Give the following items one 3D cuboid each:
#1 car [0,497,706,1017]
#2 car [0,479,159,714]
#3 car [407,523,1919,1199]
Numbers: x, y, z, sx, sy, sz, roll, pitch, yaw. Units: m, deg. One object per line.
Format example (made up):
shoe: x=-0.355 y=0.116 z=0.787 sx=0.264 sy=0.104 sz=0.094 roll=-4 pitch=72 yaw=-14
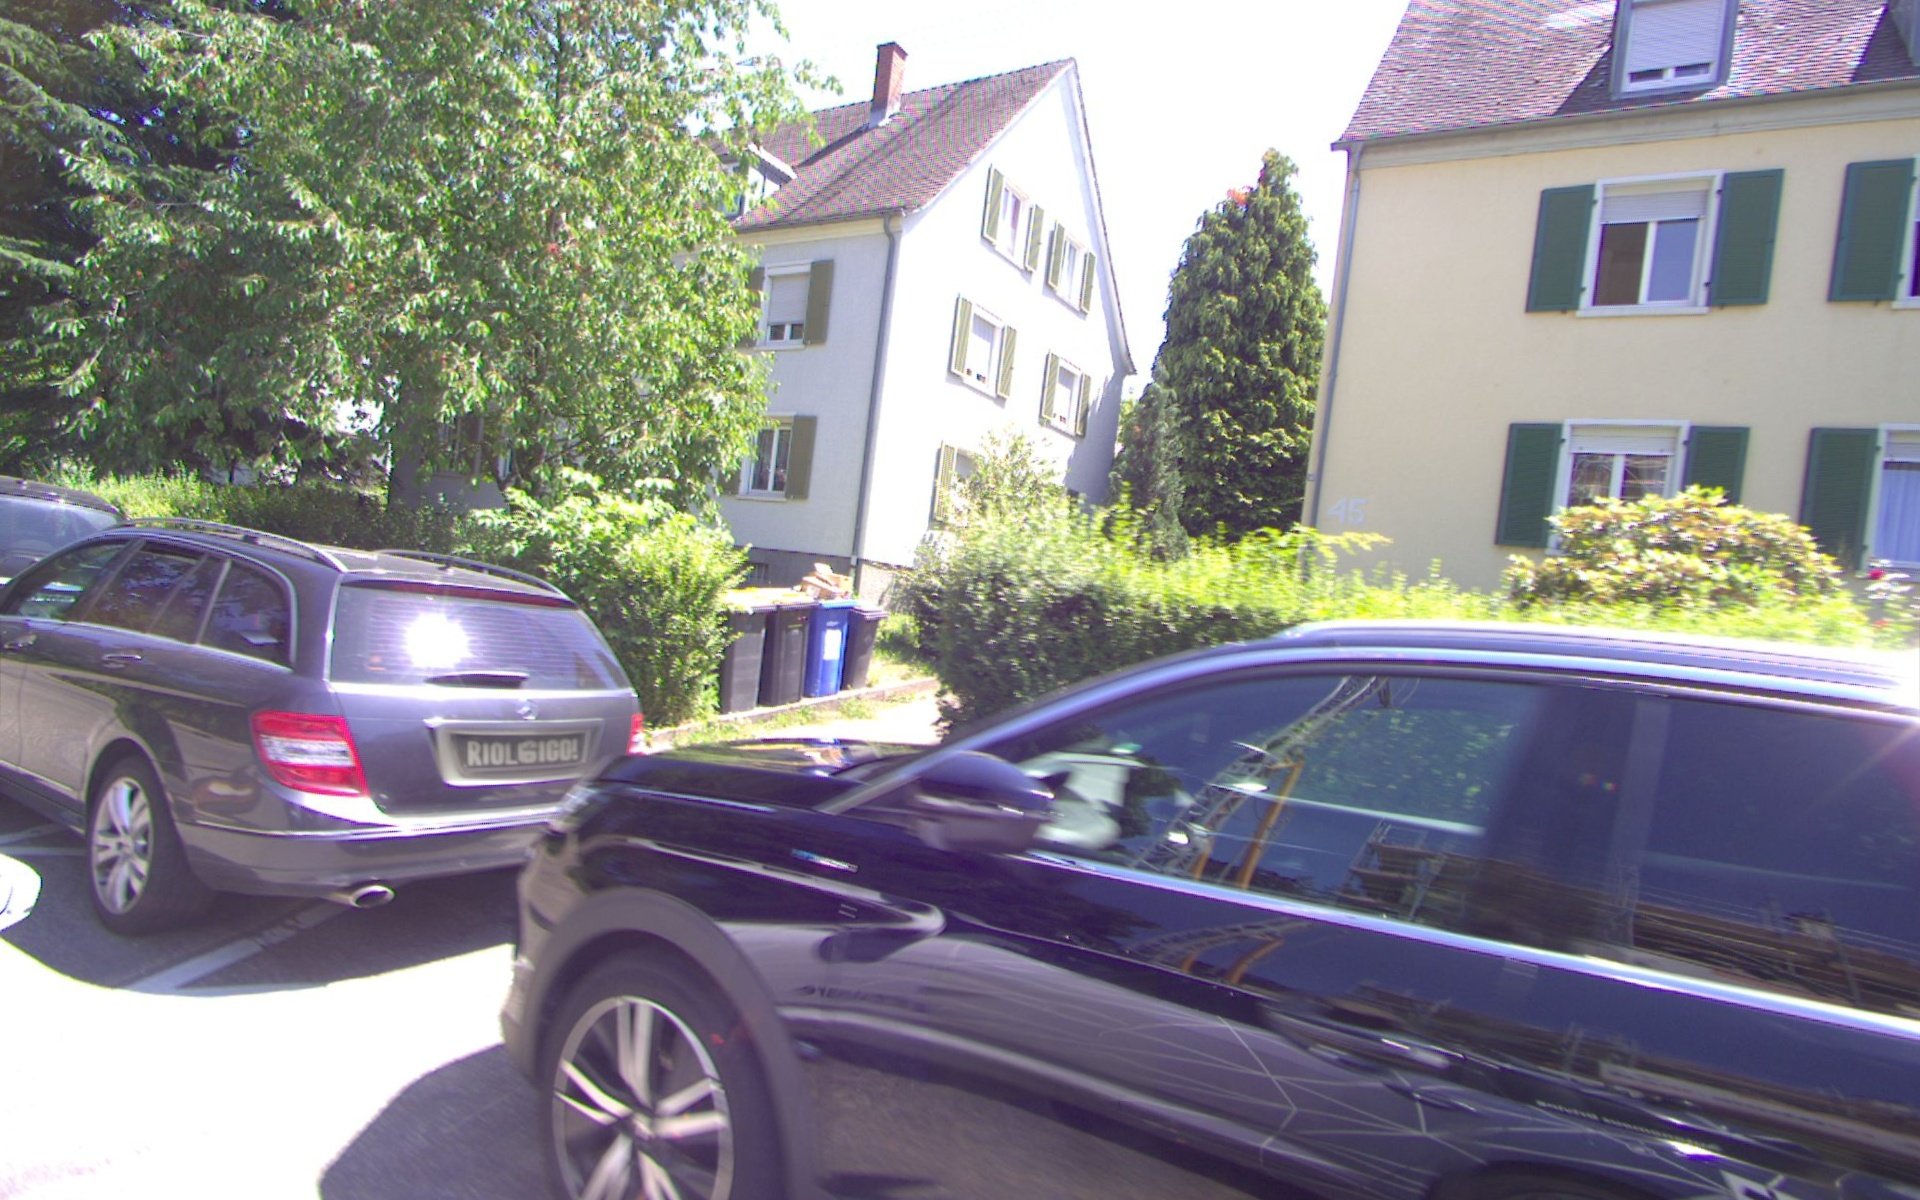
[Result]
car: x=-3.389 y=0.399 z=4.793 sx=4.133 sy=1.449 sz=1.665 roll=7 pitch=-1 yaw=31
car: x=-8.146 y=-0.224 z=7.964 sx=3.943 sy=1.594 sz=1.583 roll=7 pitch=-1 yaw=34
car: x=0.875 y=0.859 z=2.131 sx=4.135 sy=1.556 sz=1.665 roll=6 pitch=-2 yaw=32
